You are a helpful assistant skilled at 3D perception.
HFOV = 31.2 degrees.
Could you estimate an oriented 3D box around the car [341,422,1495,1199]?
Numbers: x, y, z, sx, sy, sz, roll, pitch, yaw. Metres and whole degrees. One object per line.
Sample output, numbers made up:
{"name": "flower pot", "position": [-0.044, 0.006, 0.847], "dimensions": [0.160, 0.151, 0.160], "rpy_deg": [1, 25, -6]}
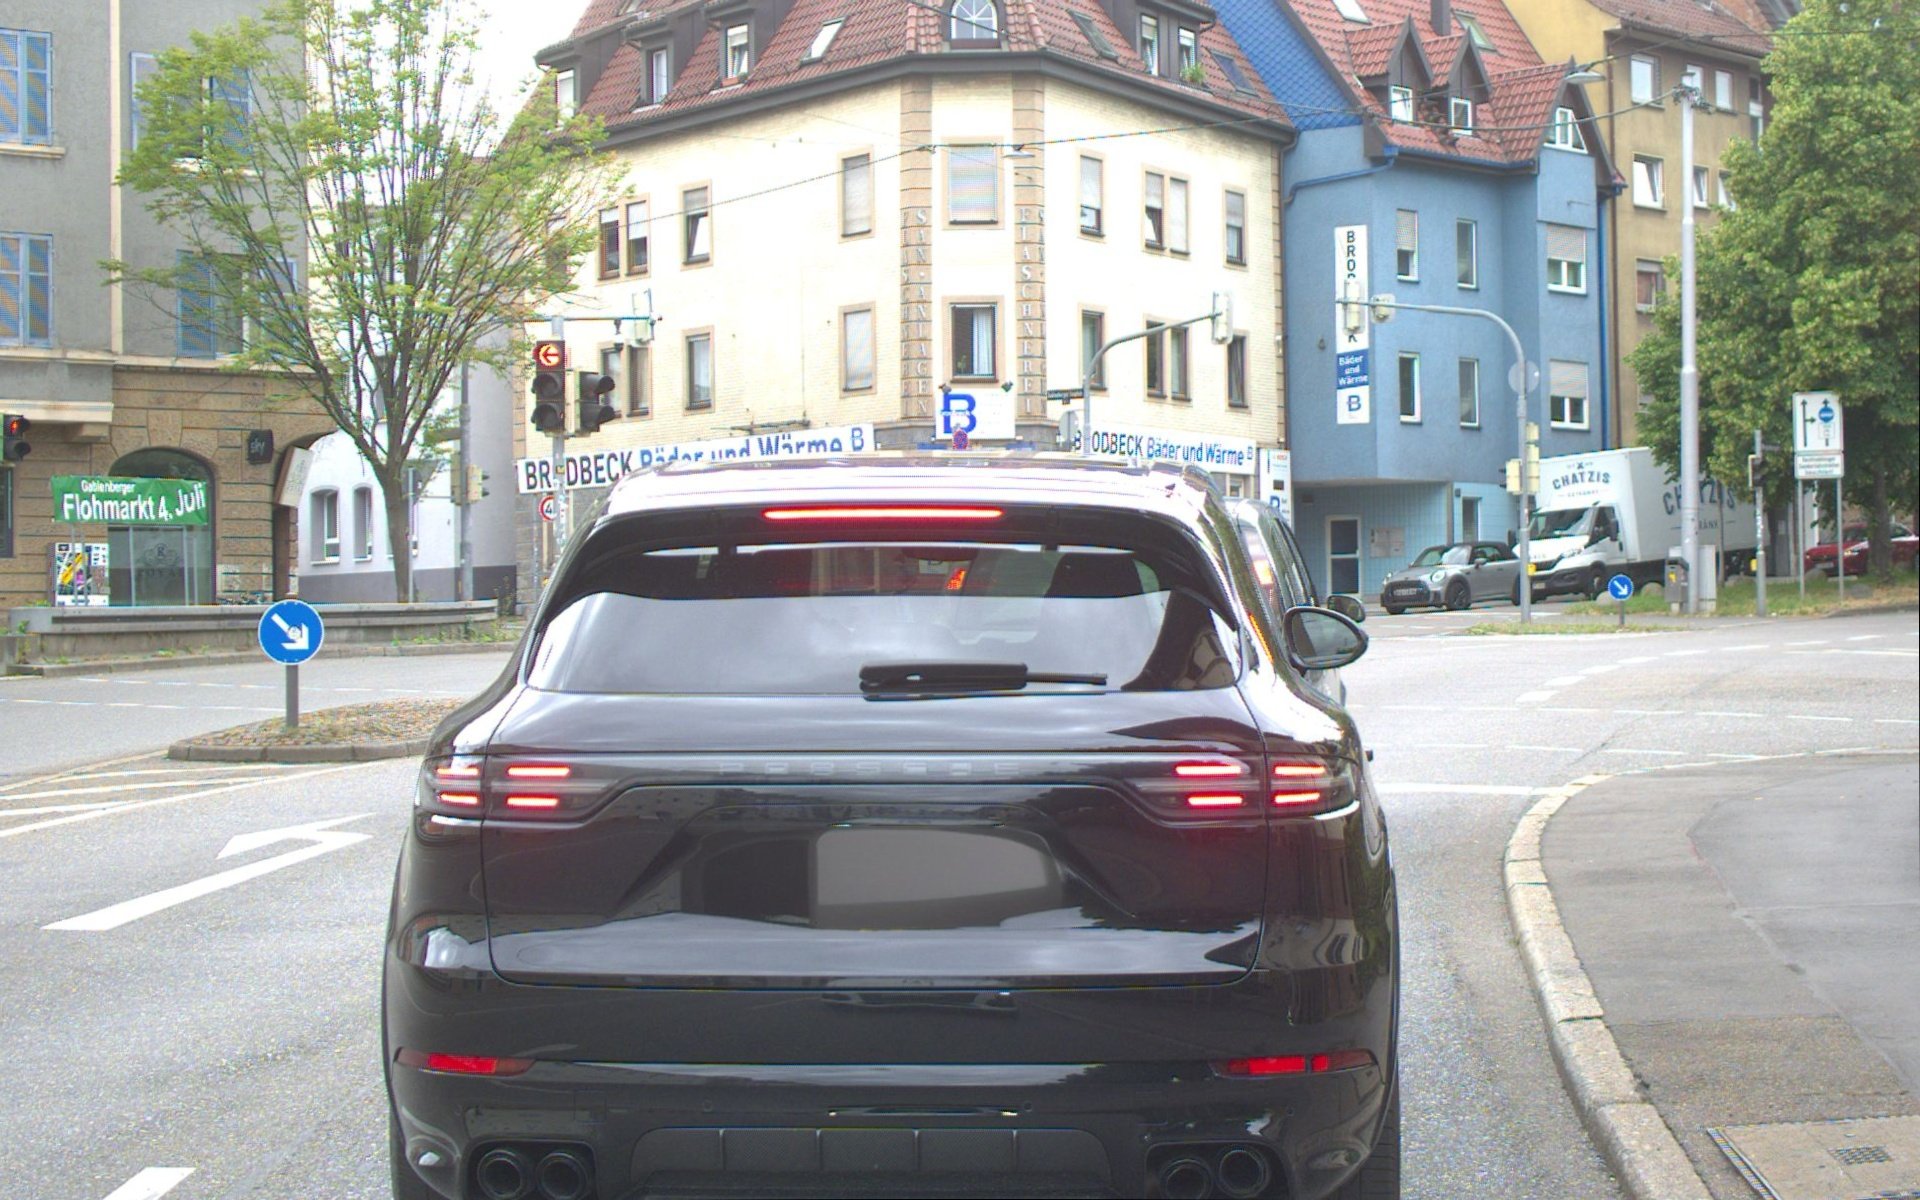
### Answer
{"name": "car", "position": [-0.177, 0.479, 7.902], "dimensions": [1.978, 1.678, 4.001], "rpy_deg": [0, 2, -3]}

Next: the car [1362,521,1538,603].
{"name": "car", "position": [10.324, -0.798, 72.247], "dimensions": [1.998, 1.678, 3.991], "rpy_deg": [0, 1, 37]}

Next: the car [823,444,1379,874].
{"name": "car", "position": [0.785, 0.203, 15.572], "dimensions": [1.994, 1.678, 3.998], "rpy_deg": [0, 1, 10]}

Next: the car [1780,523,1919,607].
{"name": "car", "position": [22.649, -0.873, 86.781], "dimensions": [1.999, 2.007, 3.990], "rpy_deg": [2, 1, 43]}

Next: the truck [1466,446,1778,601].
{"name": "truck", "position": [15.316, -1.709, 79.034], "dimensions": [2.880, 3.328, 8.772], "rpy_deg": [2, 1, 42]}
